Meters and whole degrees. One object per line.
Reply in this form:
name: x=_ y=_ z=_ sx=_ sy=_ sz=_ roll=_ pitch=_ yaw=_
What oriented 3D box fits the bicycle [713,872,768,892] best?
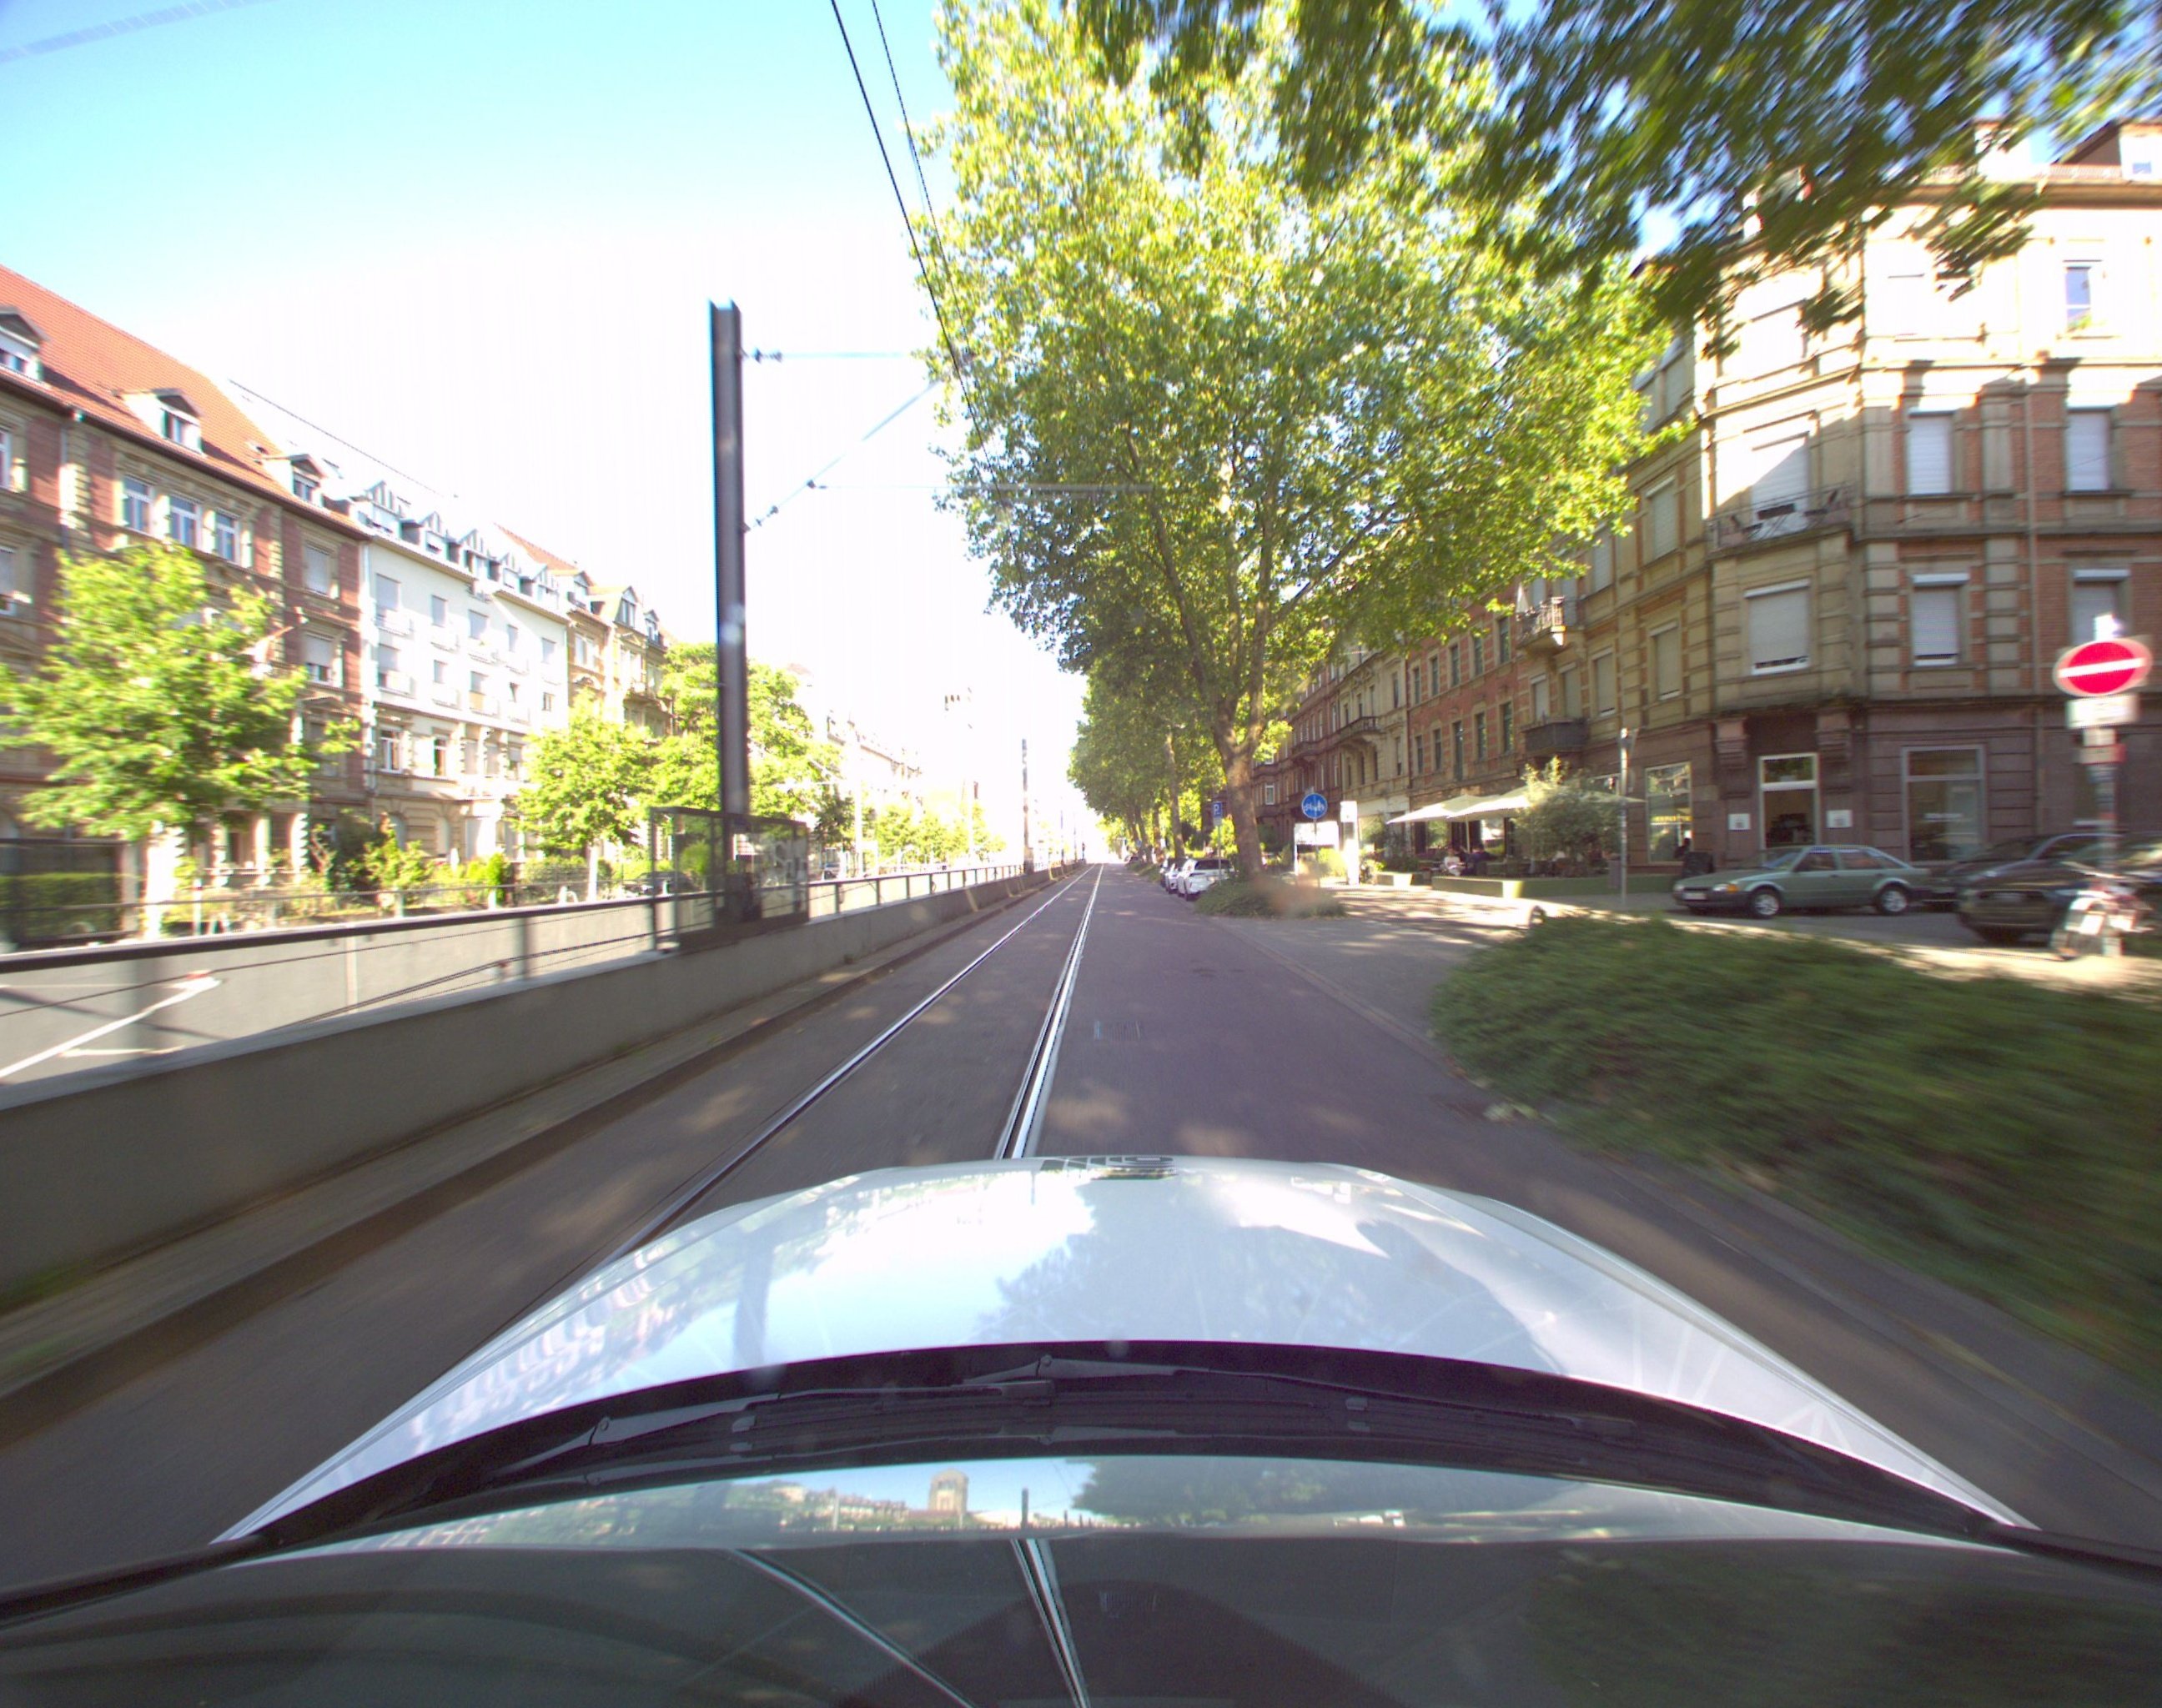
bicycle: x=-19.253 y=1.583 z=46.088 sx=2.796 sy=1.098 sz=0.636 roll=1 pitch=0 yaw=-31

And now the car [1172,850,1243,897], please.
car: x=4.310 y=0.637 z=28.393 sx=1.796 sy=1.477 sz=4.647 roll=-1 pitch=0 yaw=1

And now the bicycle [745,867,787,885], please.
bicycle: x=-19.543 y=1.375 z=50.567 sx=2.382 sy=1.098 sz=0.552 roll=1 pitch=0 yaw=-29

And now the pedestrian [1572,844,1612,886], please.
pedestrian: x=14.831 y=0.314 z=23.651 sx=0.710 sy=1.172 sz=0.663 roll=-1 pitch=0 yaw=1

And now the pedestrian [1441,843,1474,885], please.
pedestrian: x=12.053 y=0.317 z=26.084 sx=0.710 sy=1.300 sz=0.663 roll=-1 pitch=0 yaw=1

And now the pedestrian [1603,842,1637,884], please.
pedestrian: x=14.860 y=0.252 z=22.456 sx=0.554 sy=1.138 sz=0.526 roll=-1 pitch=0 yaw=1

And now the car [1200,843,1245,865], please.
car: x=14.477 y=-0.009 z=83.255 sx=4.163 sy=2.013 sz=2.000 roll=-4 pitch=0 yaw=-1

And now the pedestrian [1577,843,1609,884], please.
pedestrian: x=14.191 y=0.255 z=22.583 sx=0.554 sy=1.102 sz=0.526 roll=-1 pitch=0 yaw=1

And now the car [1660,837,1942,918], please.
car: x=13.718 y=0.413 z=15.668 sx=3.976 sy=1.364 sz=1.742 roll=-1 pitch=1 yaw=-2

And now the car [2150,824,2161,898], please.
car: x=23.513 y=0.093 z=15.524 sx=3.632 sy=1.486 sz=1.927 roll=-1 pitch=0 yaw=2

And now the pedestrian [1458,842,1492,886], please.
pedestrian: x=11.986 y=0.305 z=24.794 sx=0.710 sy=1.300 sz=0.663 roll=-1 pitch=0 yaw=1

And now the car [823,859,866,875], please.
car: x=-24.662 y=1.373 z=85.054 sx=3.984 sy=1.624 sz=1.820 roll=0 pitch=0 yaw=-8

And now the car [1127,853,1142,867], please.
car: x=6.418 y=0.701 z=98.112 sx=1.611 sy=1.587 sz=4.418 roll=-2 pitch=0 yaw=1

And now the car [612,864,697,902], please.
car: x=-19.750 y=1.282 z=37.904 sx=1.827 sy=1.585 sz=3.999 roll=1 pitch=0 yaw=0

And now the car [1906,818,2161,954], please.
car: x=13.752 y=0.336 z=10.447 sx=4.592 sy=1.548 sz=1.920 roll=-1 pitch=0 yaw=-4

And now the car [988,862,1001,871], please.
car: x=-16.373 y=2.403 z=154.812 sx=1.708 sy=1.555 sz=4.514 roll=1 pitch=0 yaw=4

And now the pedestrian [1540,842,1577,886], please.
pedestrian: x=14.675 y=0.306 z=25.040 sx=0.710 sy=1.300 sz=0.663 roll=-1 pitch=0 yaw=1

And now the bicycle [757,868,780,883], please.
bicycle: x=-19.621 y=1.327 z=51.184 sx=1.272 sy=0.905 sz=0.534 roll=1 pitch=0 yaw=-29

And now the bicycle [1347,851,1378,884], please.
bicycle: x=10.303 y=0.489 z=29.863 sx=0.473 sy=1.143 sz=1.897 roll=-3 pitch=0 yaw=2

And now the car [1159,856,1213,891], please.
car: x=4.250 y=0.768 z=33.617 sx=1.823 sy=1.326 sz=4.002 roll=-1 pitch=0 yaw=2

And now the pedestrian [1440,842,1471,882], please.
pedestrian: x=12.473 y=0.276 z=27.140 sx=0.710 sy=1.300 sz=0.663 roll=-1 pitch=0 yaw=1

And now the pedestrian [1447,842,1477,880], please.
pedestrian: x=13.232 y=0.250 z=28.306 sx=0.710 sy=1.300 sz=0.663 roll=-1 pitch=0 yaw=2

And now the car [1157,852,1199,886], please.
car: x=4.772 y=0.703 z=40.595 sx=1.725 sy=1.536 sz=4.809 roll=-1 pitch=0 yaw=3

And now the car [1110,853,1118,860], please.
car: x=7.876 y=0.609 z=195.954 sx=1.739 sy=1.462 sz=3.645 roll=1 pitch=0 yaw=1

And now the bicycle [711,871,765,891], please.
bicycle: x=-19.638 y=1.574 z=46.658 sx=2.796 sy=1.098 sz=0.636 roll=1 pitch=0 yaw=-31

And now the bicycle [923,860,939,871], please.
bicycle: x=-18.037 y=1.394 z=97.812 sx=1.721 sy=1.280 sz=0.601 roll=-1 pitch=-1 yaw=7

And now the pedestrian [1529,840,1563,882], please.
pedestrian: x=14.765 y=0.214 z=25.893 sx=0.658 sy=1.300 sz=0.715 roll=-1 pitch=0 yaw=1

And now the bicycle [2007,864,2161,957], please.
bicycle: x=11.052 y=0.582 z=8.791 sx=1.691 sy=0.917 sz=0.600 roll=-1 pitch=0 yaw=-10

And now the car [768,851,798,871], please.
car: x=-29.045 y=0.683 z=79.506 sx=1.994 sy=1.849 sz=4.465 roll=1 pitch=0 yaw=-10

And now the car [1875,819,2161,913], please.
car: x=18.444 y=0.217 z=15.918 sx=3.879 sy=1.647 sz=1.895 roll=-1 pitch=0 yaw=3

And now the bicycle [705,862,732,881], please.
bicycle: x=-22.815 y=1.092 z=51.276 sx=0.553 sy=1.098 sz=2.376 roll=1 pitch=0 yaw=2

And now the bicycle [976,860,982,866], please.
bicycle: x=-16.908 y=1.451 z=134.753 sx=0.487 sy=1.022 sz=1.879 roll=1 pitch=0 yaw=-22

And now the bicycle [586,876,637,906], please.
bicycle: x=-20.013 y=1.567 z=34.726 sx=1.800 sy=1.178 sz=0.563 roll=1 pitch=0 yaw=3
